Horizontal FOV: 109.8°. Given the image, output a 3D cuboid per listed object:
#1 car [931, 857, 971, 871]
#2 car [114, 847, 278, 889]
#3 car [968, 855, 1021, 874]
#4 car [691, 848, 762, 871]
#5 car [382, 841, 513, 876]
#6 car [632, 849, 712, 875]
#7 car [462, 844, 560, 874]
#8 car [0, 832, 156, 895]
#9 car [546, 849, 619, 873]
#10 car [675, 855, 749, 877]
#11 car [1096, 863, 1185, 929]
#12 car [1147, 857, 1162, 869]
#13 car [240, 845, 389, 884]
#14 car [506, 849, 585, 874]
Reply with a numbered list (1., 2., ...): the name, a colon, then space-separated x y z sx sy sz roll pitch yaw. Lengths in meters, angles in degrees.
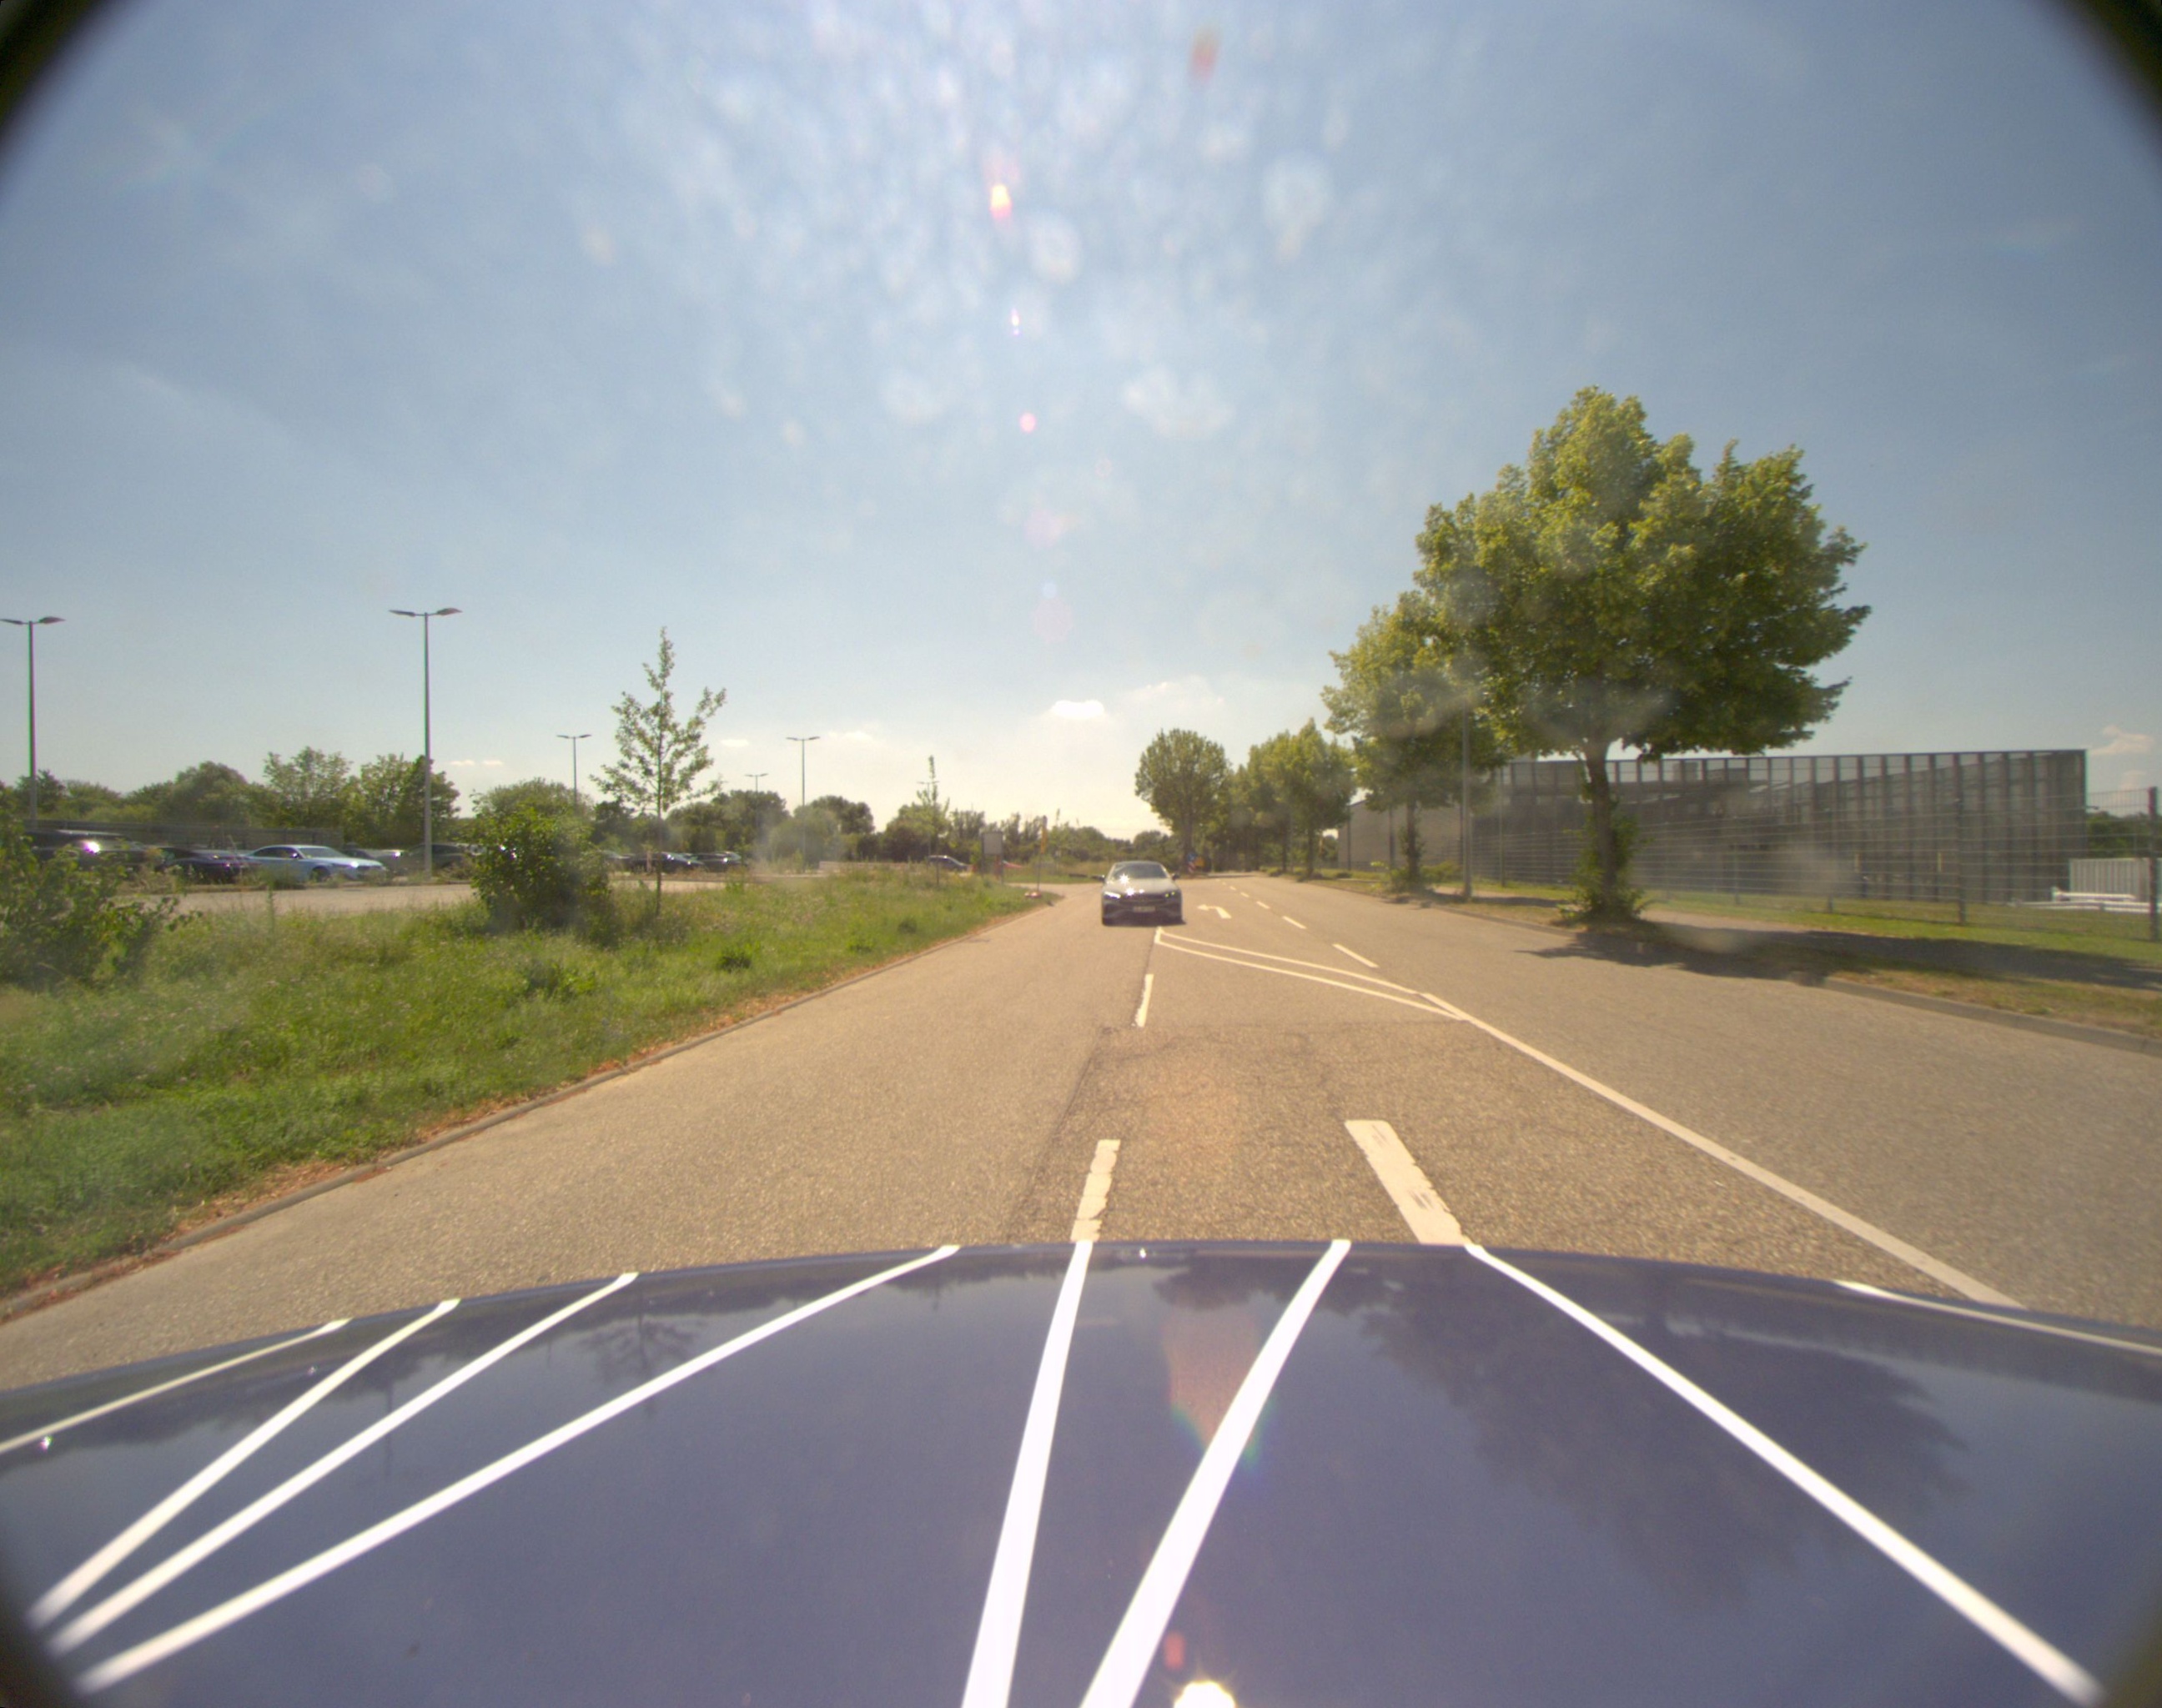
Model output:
1. car: -14.311 1.108 83.794 3.996 1.343 1.647 -2 1 3
2. car: -26.933 0.404 23.186 3.457 1.156 1.559 2 0 6
3. car: -7.003 0.816 61.711 3.996 1.343 1.647 -2 1 3
4. car: -24.186 0.362 51.888 3.996 1.343 1.647 -2 1 3
5. car: -26.033 0.173 31.277 4.296 1.289 1.559 2 0 6
6. car: -24.961 0.470 46.463 3.996 1.343 1.647 -2 1 3
7. car: -25.780 0.205 34.410 3.458 1.216 1.466 2 0 6
8. car: -27.096 0.239 20.174 3.434 1.537 1.562 2 0 6
9. car: -34.899 0.486 53.255 3.996 1.459 1.647 -2 1 3
10. car: -23.853 0.761 49.149 3.996 1.343 1.647 1 1 3
11. car: 1.499 0.953 18.903 1.896 1.375 4.635 -1 -1 5
12. car: 9.403 1.145 97.422 1.672 1.366 4.499 -3 0 8
13. car: -26.946 0.370 26.767 3.845 1.229 1.611 2 0 6
14. car: -35.104 0.478 49.889 3.996 1.459 1.647 -2 1 3
